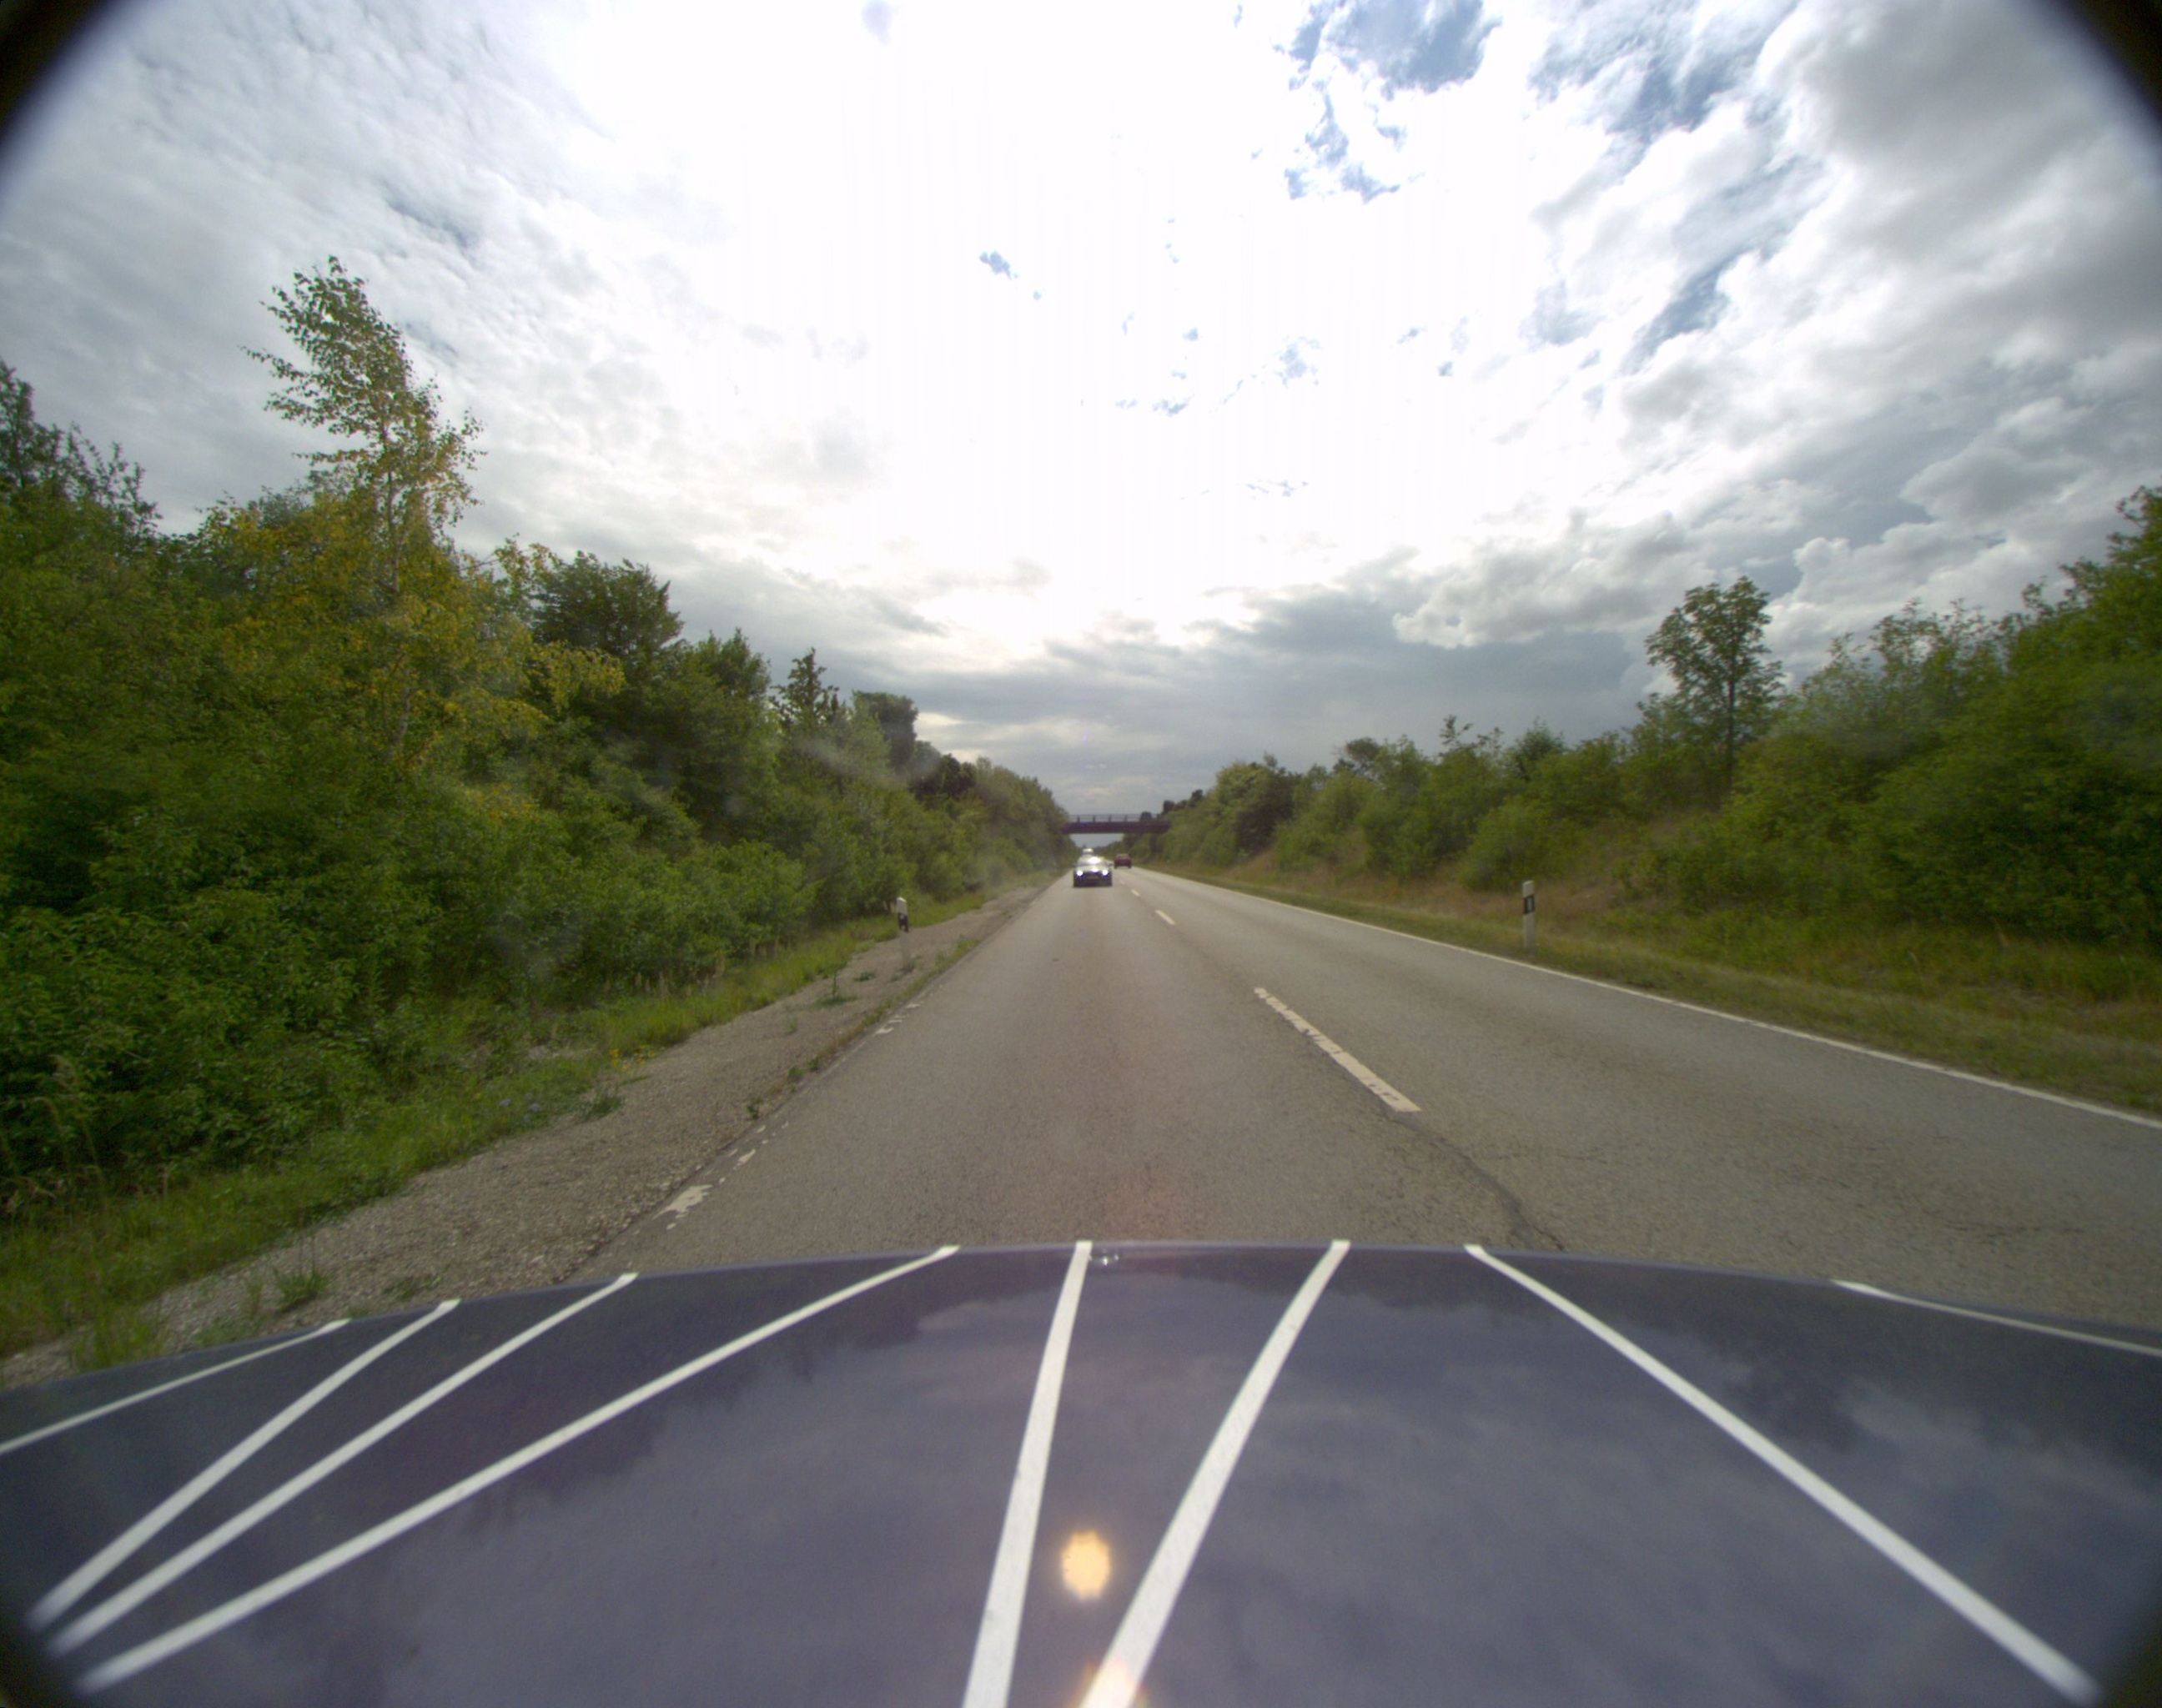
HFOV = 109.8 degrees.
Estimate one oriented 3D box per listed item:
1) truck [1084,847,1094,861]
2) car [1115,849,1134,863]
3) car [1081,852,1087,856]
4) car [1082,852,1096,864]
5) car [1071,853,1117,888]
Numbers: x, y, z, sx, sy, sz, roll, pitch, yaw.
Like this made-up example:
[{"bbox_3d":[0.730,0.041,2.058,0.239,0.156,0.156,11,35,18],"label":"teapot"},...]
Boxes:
[{"bbox_3d":[1.440,-0.034,138.136,1.802,2.518,6.685,-2,1,1],"label":"truck"},{"bbox_3d":[4.759,0.231,83.135,1.833,1.456,4.411,-2,0,1],"label":"car"},{"bbox_3d":[1.146,-0.006,262.082,1.893,1.637,3.999,-2,0,-1],"label":"car"},{"bbox_3d":[1.162,0.601,108.043,1.870,1.597,3.999,-1,1,0],"label":"car"},{"bbox_3d":[0.612,0.742,36.366,1.998,1.436,4.640,-2,1,1],"label":"car"}]
